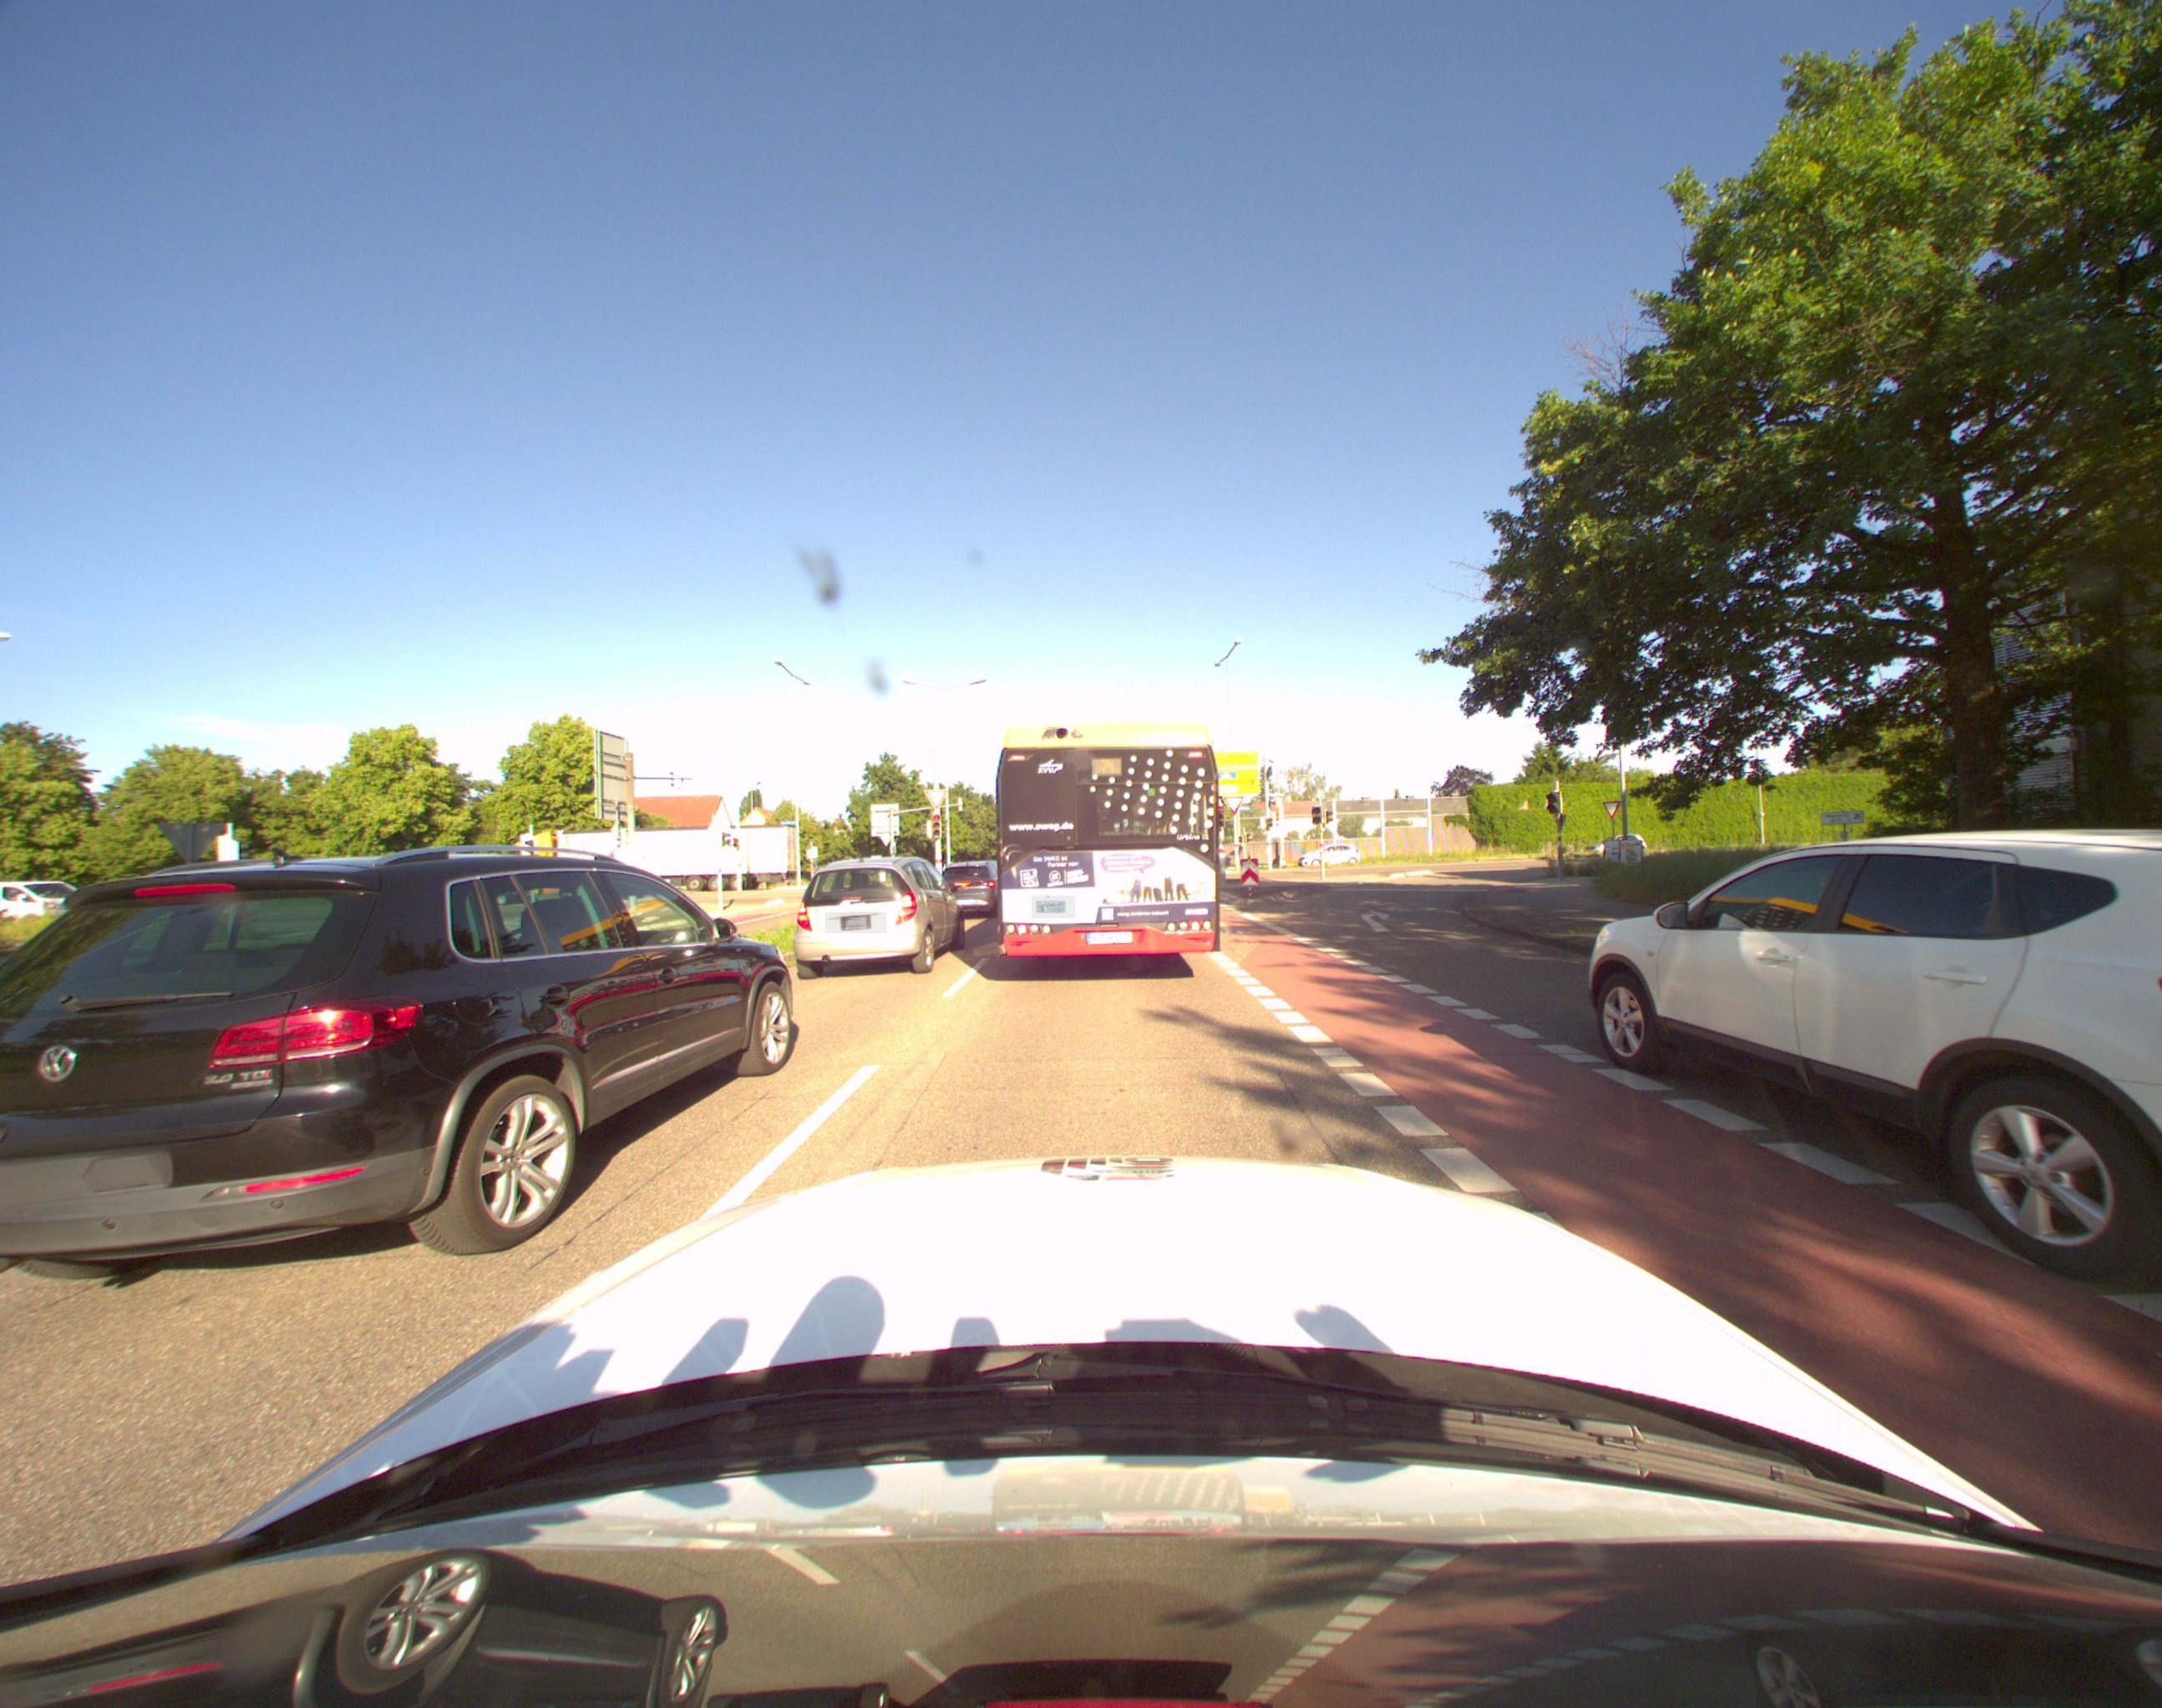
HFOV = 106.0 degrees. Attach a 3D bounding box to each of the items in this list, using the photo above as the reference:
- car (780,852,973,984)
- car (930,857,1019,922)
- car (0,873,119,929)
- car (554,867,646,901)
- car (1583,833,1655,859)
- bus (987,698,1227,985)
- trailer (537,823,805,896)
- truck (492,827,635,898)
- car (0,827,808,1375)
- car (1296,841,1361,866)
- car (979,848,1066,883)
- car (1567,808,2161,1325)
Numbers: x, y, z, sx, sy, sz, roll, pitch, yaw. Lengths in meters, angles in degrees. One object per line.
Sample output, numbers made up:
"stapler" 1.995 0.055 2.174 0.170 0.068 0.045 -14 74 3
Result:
"car" -2.874 0.820 12.381 1.755 1.589 4.001 -3 0 1
"car" -2.688 0.852 21.315 1.686 1.458 3.751 -3 0 1
"car" -43.145 1.919 32.995 5.375 2.118 2.178 -1 -1 -4
"car" -24.571 1.529 41.673 3.577 1.560 1.747 -2 0 -5
"car" 39.242 -0.568 59.451 3.976 1.816 1.922 0 -1 -2
"bus" 0.524 -0.168 15.019 2.632 3.167 11.867 -1 0 2
"trailer" -25.334 0.310 51.083 14.629 4.013 3.435 -2 0 -5
"truck" -31.953 0.499 50.537 6.463 4.013 3.436 -2 0 -4
"car" -3.170 0.796 4.555 1.766 1.653 4.001 -3 0 1
"car" 16.451 0.000 54.229 3.800 1.612 1.704 0 -1 -5
"car" -2.995 0.592 42.085 4.092 1.526 1.751 -3 0 -30
"car" 4.380 0.642 4.145 1.709 1.607 4.074 -1 0 6
